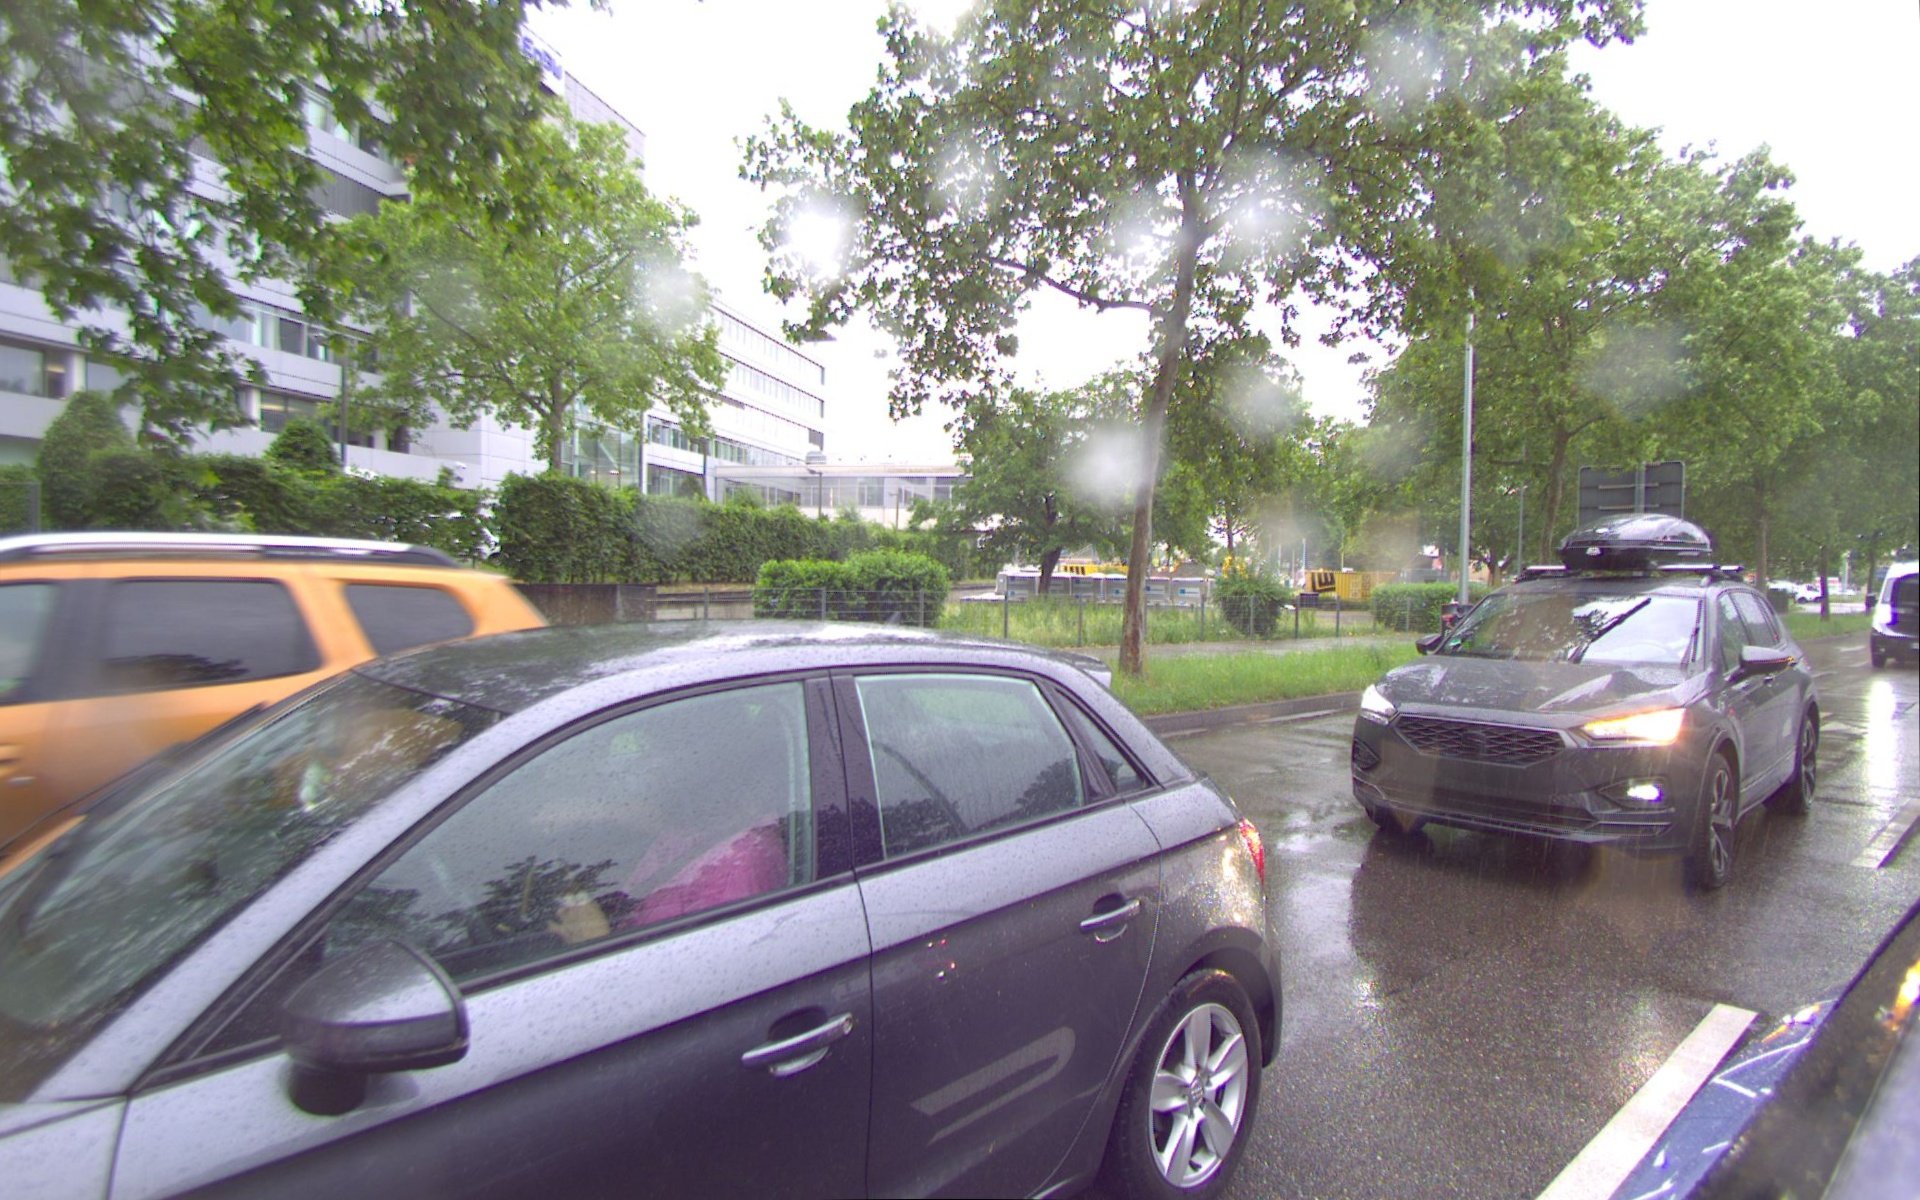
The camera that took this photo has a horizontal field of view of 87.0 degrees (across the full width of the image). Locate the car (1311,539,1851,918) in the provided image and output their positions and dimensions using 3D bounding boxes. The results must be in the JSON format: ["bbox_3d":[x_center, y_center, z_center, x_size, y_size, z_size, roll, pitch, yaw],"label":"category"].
[{"bbox_3d":[4.335,0.557,6.749,4.347,1.719,1.892,0,1,-42],"label":"car"}]

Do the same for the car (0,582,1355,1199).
[{"bbox_3d":[-0.880,0.697,2.146,3.715,1.446,1.679,0,1,-41],"label":"car"}]

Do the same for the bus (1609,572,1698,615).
[{"bbox_3d":[43.729,-0.431,63.923,1.681,2.600,4.366,0,0,-41],"label":"bus"}]

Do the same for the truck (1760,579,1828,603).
[{"bbox_3d":[85.194,-0.940,103.475,4.988,2.406,1.785,0,0,19],"label":"truck"}]

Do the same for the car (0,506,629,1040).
[{"bbox_3d":[-3.589,0.561,3.906,4.074,1.707,1.677,1,-1,-41],"label":"car"}]

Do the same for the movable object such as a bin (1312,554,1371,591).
[{"bbox_3d":[36.110,-2.564,95.802,4.838,3.478,1.921,0,0,-7],"label":"movable object such as a bin"}]

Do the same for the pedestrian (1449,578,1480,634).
[{"bbox_3d":[15.739,0.173,31.572,0.645,1.738,0.645,0,0,-40],"label":"pedestrian"}]

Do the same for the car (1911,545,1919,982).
[{"bbox_3d":[6.329,0.178,4.960,5.599,2.544,2.024,0,1,-43],"label":"car"}]

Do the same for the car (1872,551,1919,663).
[{"bbox_3d":[23.222,0.157,23.966,5.227,2.476,1.892,0,1,-43],"label":"car"}]
